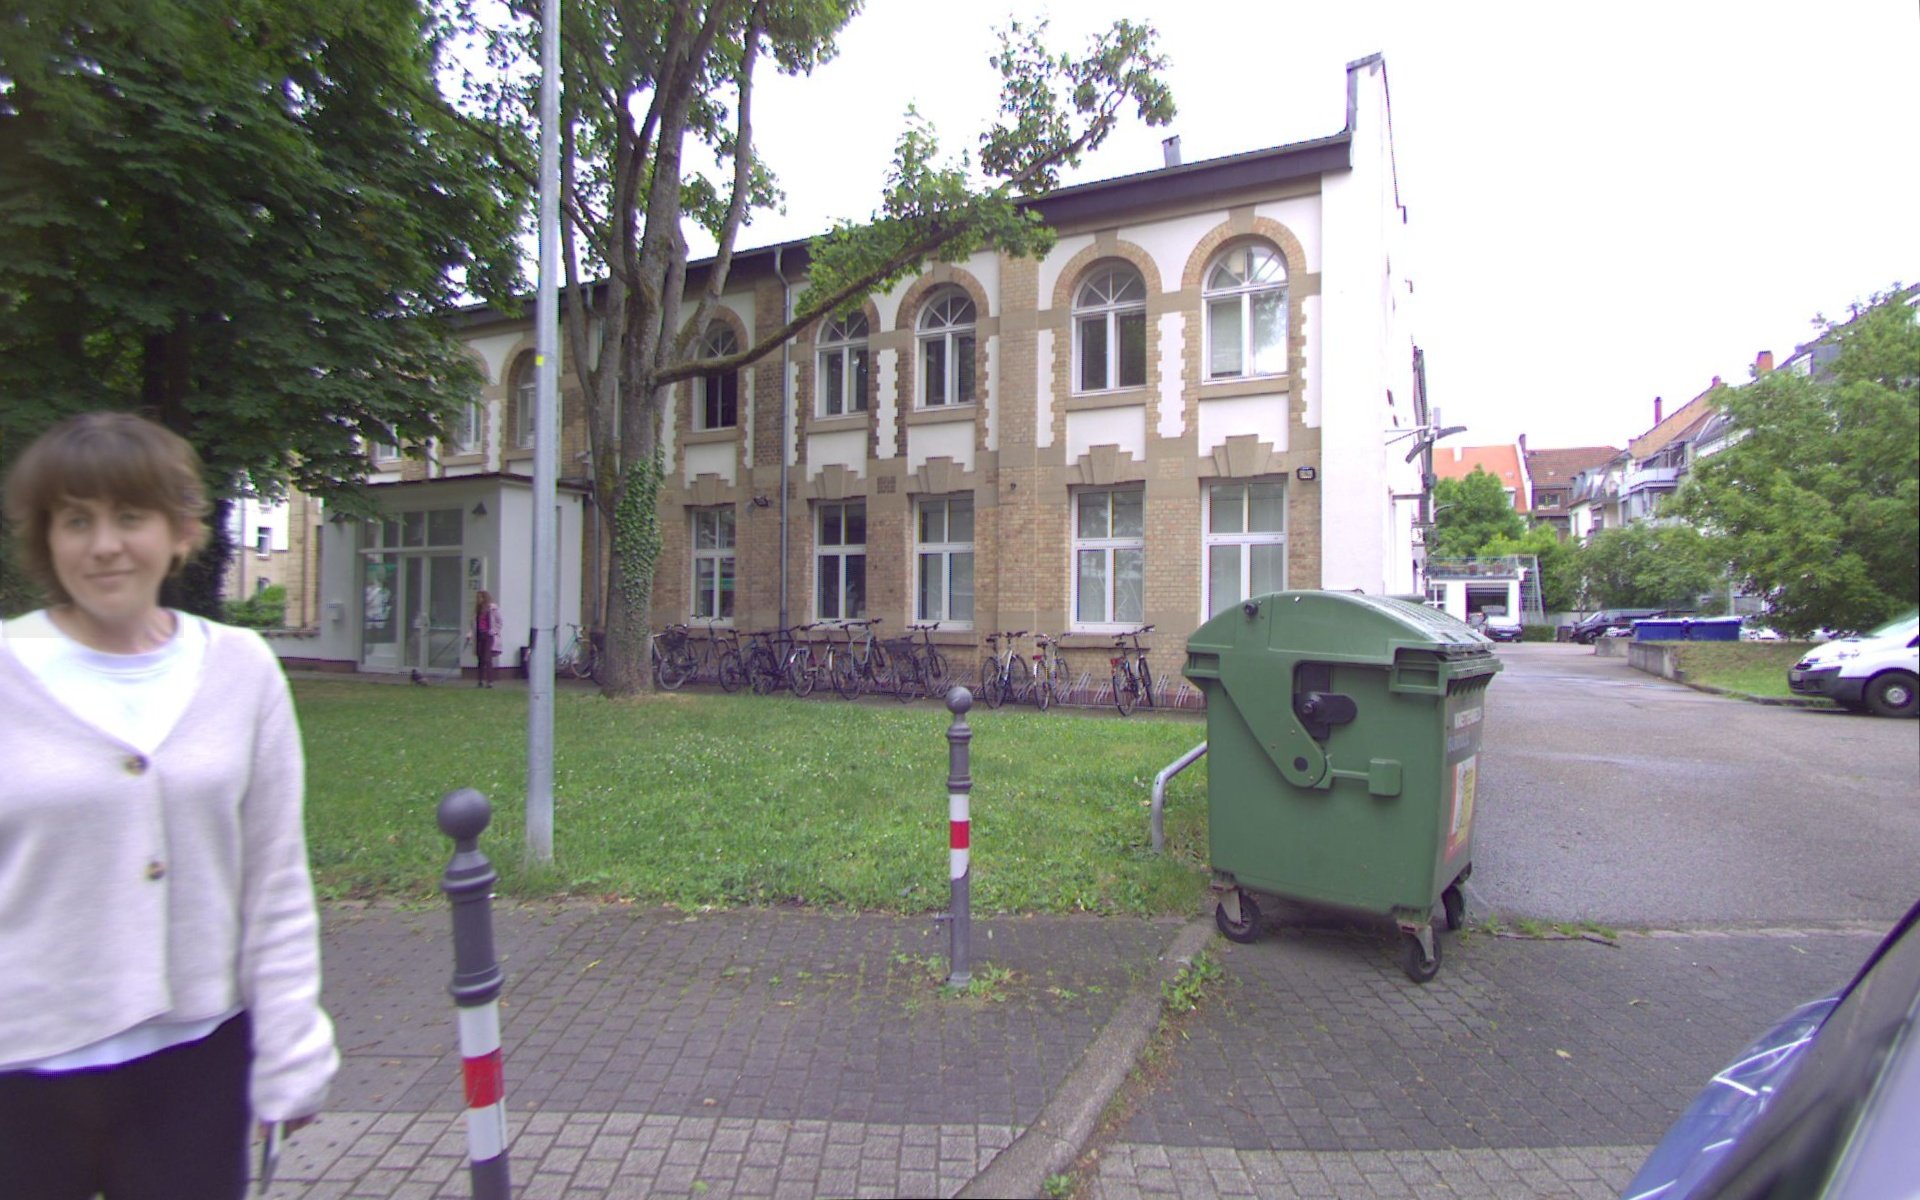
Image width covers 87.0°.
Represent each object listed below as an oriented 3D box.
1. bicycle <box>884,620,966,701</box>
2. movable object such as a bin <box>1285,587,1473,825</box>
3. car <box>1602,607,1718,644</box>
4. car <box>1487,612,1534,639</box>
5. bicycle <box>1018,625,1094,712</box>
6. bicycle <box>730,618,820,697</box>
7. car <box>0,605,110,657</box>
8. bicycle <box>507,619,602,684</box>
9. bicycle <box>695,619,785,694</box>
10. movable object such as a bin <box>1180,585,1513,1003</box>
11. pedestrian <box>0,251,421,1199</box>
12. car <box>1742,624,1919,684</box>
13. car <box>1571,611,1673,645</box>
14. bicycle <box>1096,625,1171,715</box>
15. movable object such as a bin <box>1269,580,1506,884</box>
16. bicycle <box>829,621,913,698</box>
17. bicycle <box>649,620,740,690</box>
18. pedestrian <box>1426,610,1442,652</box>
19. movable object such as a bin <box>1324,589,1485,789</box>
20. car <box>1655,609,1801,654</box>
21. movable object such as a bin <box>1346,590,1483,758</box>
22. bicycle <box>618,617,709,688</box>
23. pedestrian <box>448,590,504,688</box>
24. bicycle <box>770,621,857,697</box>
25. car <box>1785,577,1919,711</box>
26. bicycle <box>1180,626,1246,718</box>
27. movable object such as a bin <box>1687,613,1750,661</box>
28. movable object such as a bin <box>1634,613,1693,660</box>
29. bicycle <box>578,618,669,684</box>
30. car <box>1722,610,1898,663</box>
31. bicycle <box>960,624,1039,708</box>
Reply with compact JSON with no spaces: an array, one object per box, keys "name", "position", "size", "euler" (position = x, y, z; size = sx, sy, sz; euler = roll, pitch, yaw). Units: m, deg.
[{"name":"bicycle","position":[-0.511,0.891,15.426],"size":[0.456,1.129,1.727],"euler":[0,0,28]},{"name":"movable object such as a bin","position":[2.908,0.665,7.080],"size":[1.096,1.469,1.284],"euler":[-1,-1,23]},{"name":"car","position":[34.285,1.223,49.683],"size":[4.288,1.757,1.986],"euler":[0,-1,21]},{"name":"car","position":[31.091,1.437,57.247],"size":[1.898,1.416,3.969],"euler":[0,0,23]},{"name":"bicycle","position":[1.390,0.937,14.438],"size":[0.456,1.129,1.727],"euler":[0,-1,28]},{"name":"bicycle","position":[-2.976,0.898,16.456],"size":[0.456,1.128,1.728],"euler":[0,2,28]},{"name":"car","position":[-26.286,0.825,28.429],"size":[1.776,1.371,3.813],"euler":[0,0,-4]},{"name":"bicycle","position":[-7.427,0.917,18.621],"size":[0.456,1.129,1.727],"euler":[0,-1,28]},{"name":"bicycle","position":[-3.638,0.902,16.852],"size":[0.456,1.128,1.728],"euler":[0,1,28]},{"name":"movable object such as a bin","position":[1.695,0.676,4.356],"size":[1.065,1.452,1.259],"euler":[0,-1,36]},{"name":"pedestrian","position":[-1.098,0.566,1.299],"size":[0.649,1.804,0.752],"euler":[0,-1,-24]},{"name":"car","position":[28.336,1.709,32.804],"size":[4.288,1.757,1.986],"euler":[0,-1,21]},{"name":"car","position":[35.877,1.483,54.985],"size":[4.288,1.757,1.986],"euler":[0,-1,21]},{"name":"bicycle","position":[2.415,0.928,13.942],"size":[0.457,1.129,1.726],"euler":[0,-1,30]},{"name":"movable object such as a bin","position":[2.384,0.650,5.727],"size":[1.096,1.469,1.276],"euler":[-1,-1,23]},{"name":"bicycle","position":[-1.384,0.907,15.975],"size":[0.456,1.129,1.727],"euler":[0,-1,28]},{"name":"bicycle","position":[-4.540,0.915,17.419],"size":[0.456,1.129,1.727],"euler":[0,-1,28]},{"name":"pedestrian","position":[18.106,1.181,38.657],"size":[0.493,1.582,0.426],"euler":[0,-1,22]},{"name":"movable object such as a bin","position":[3.564,0.662,8.263],"size":[1.095,1.469,1.318],"euler":[0,-1,20]},{"name":"car","position":[31.074,1.235,41.112],"size":[4.288,1.757,1.986],"euler":[0,-1,21]},{"name":"movable object such as a bin","position":[4.299,0.662,9.700],"size":[1.095,1.469,1.353],"euler":[0,-1,21]},{"name":"bicycle","position":[-5.205,0.893,17.855],"size":[0.456,1.128,1.728],"euler":[0,1,28]},{"name":"pedestrian","position":[-8.175,0.648,17.102],"size":[0.621,1.607,0.599],"euler":[0,-1,26]},{"name":"bicycle","position":[-2.319,0.912,16.246],"size":[0.456,1.129,1.727],"euler":[0,-1,28]},{"name":"car","position":[15.133,0.665,14.558],"size":[4.729,1.898,1.882],"euler":[0,-3,29]},{"name":"bicycle","position":[3.415,0.925,13.572],"size":[0.456,1.129,1.727],"euler":[0,-1,28]},{"name":"movable object such as a bin","position":[21.463,1.045,28.662],"size":[1.168,1.324,1.217],"euler":[-1,-2,25]},{"name":"movable object such as a bin","position":[20.254,1.046,29.186],"size":[1.168,1.324,1.217],"euler":[-1,-2,25]},{"name":"bicycle","position":[-6.056,0.890,18.288],"size":[0.456,1.129,1.727],"euler":[0,-1,28]},{"name":"car","position":[29.886,1.238,35.747],"size":[4.288,1.757,1.986],"euler":[0,-1,21]},{"name":"bicycle","position":[0.603,0.933,14.805],"size":[0.456,1.129,1.727],"euler":[0,-1,28]}]
